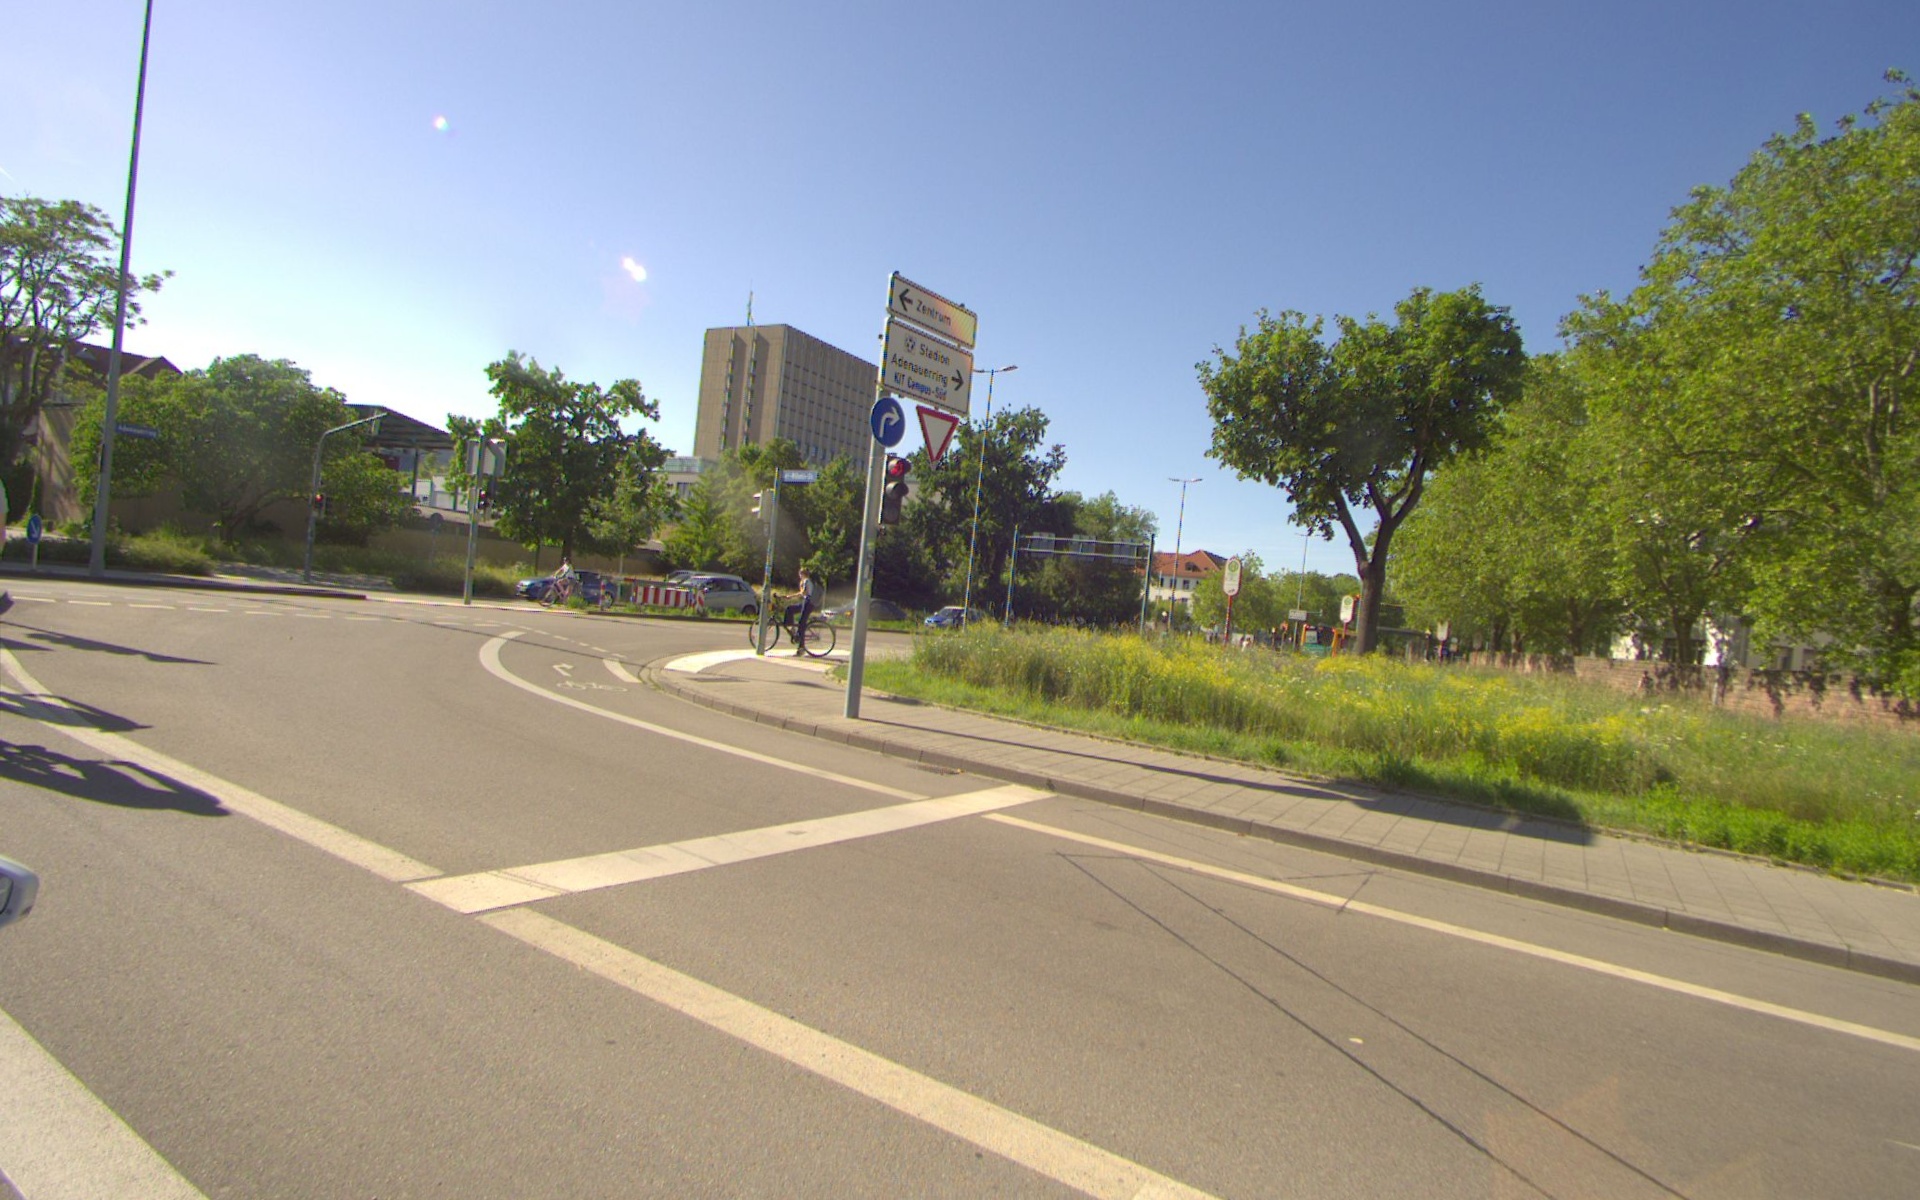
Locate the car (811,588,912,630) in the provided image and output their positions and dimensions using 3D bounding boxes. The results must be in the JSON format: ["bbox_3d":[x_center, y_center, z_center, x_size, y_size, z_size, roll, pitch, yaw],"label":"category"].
[{"bbox_3d":[-4.307,0.435,44.626,1.767,1.415,4.557,7,0,37],"label":"car"}]

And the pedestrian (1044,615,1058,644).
[{"bbox_3d":[7.993,2.612,88.441,0.710,2.451,0.585,6,-1,34],"label":"pedestrian"}]

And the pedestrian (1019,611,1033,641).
[{"bbox_3d":[5.632,2.199,85.900,0.655,2.451,0.613,6,-1,34],"label":"pedestrian"}]

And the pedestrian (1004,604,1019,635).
[{"bbox_3d":[4.267,1.580,83.279,0.660,2.451,0.770,6,-1,34],"label":"pedestrian"}]

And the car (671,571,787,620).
[{"bbox_3d":[-8.737,-0.130,38.285,1.767,1.415,3.986,7,0,37],"label":"car"}]

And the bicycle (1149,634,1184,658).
[{"bbox_3d":[9.252,2.072,45.058,0.640,0.986,1.895,7,1,39],"label":"bicycle"}]

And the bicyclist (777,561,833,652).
[{"bbox_3d":[-3.034,0.125,19.702,0.898,1.667,0.630,6,1,-9],"label":"bicyclist"}]

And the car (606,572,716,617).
[{"bbox_3d":[-12.297,-0.200,41.567,1.767,1.415,3.986,7,0,37],"label":"car"}]

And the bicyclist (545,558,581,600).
[{"bbox_3d":[-13.932,-0.722,35.278,0.602,1.360,0.874,7,1,37],"label":"bicyclist"}]

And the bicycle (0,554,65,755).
[{"bbox_3d":[-6.294,0.237,6.109,1.890,1.102,0.690,6,-1,32],"label":"bicycle"}]

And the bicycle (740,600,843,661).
[{"bbox_3d":[-3.287,0.592,19.674,1.856,0.970,0.635,7,1,-10],"label":"bicycle"}]

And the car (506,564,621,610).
[{"bbox_3d":[-16.208,-0.525,41.314,1.767,1.415,3.986,7,0,37],"label":"car"}]

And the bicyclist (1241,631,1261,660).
[{"bbox_3d":[15.765,2.465,54.444,0.509,1.548,1.067,7,2,39],"label":"bicyclist"}]

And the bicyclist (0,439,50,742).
[{"bbox_3d":[-6.308,-0.116,6.143,1.123,1.813,0.684,7,0,32],"label":"bicyclist"}]

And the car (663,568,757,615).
[{"bbox_3d":[-11.841,-0.367,47.792,1.767,1.771,3.986,7,0,37],"label":"car"}]

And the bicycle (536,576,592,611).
[{"bbox_3d":[-13.907,-0.224,35.391,0.602,1.046,1.681,7,0,37],"label":"bicycle"}]

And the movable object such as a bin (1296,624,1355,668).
[{"bbox_3d":[28.053,3.591,76.942,2.954,2.898,9.178,6,0,27],"label":"movable object such as a bin"}]

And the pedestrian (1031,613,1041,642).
[{"bbox_3d":[6.573,2.384,87.437,0.401,2.451,0.467,6,-1,34],"label":"pedestrian"}]

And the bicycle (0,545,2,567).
[{"bbox_3d":[-8.215,0.021,7.744,1.890,1.102,0.690,6,-1,32],"label":"bicycle"}]

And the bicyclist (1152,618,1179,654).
[{"bbox_3d":[9.199,1.625,44.930,0.632,1.533,1.049,7,2,39],"label":"bicyclist"}]

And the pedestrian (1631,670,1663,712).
[{"bbox_3d":[26.059,3.449,38.159,0.712,1.460,0.523,7,-1,2],"label":"pedestrian"}]

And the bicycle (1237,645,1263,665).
[{"bbox_3d":[15.702,2.985,54.446,0.514,1.000,1.965,7,1,39],"label":"bicycle"}]

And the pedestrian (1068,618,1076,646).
[{"bbox_3d":[10.019,2.866,89.933,0.267,2.451,0.300,6,-1,34],"label":"pedestrian"}]

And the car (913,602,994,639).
[{"bbox_3d":[-0.292,1.050,50.454,1.916,1.415,3.986,6,0,37],"label":"car"}]
